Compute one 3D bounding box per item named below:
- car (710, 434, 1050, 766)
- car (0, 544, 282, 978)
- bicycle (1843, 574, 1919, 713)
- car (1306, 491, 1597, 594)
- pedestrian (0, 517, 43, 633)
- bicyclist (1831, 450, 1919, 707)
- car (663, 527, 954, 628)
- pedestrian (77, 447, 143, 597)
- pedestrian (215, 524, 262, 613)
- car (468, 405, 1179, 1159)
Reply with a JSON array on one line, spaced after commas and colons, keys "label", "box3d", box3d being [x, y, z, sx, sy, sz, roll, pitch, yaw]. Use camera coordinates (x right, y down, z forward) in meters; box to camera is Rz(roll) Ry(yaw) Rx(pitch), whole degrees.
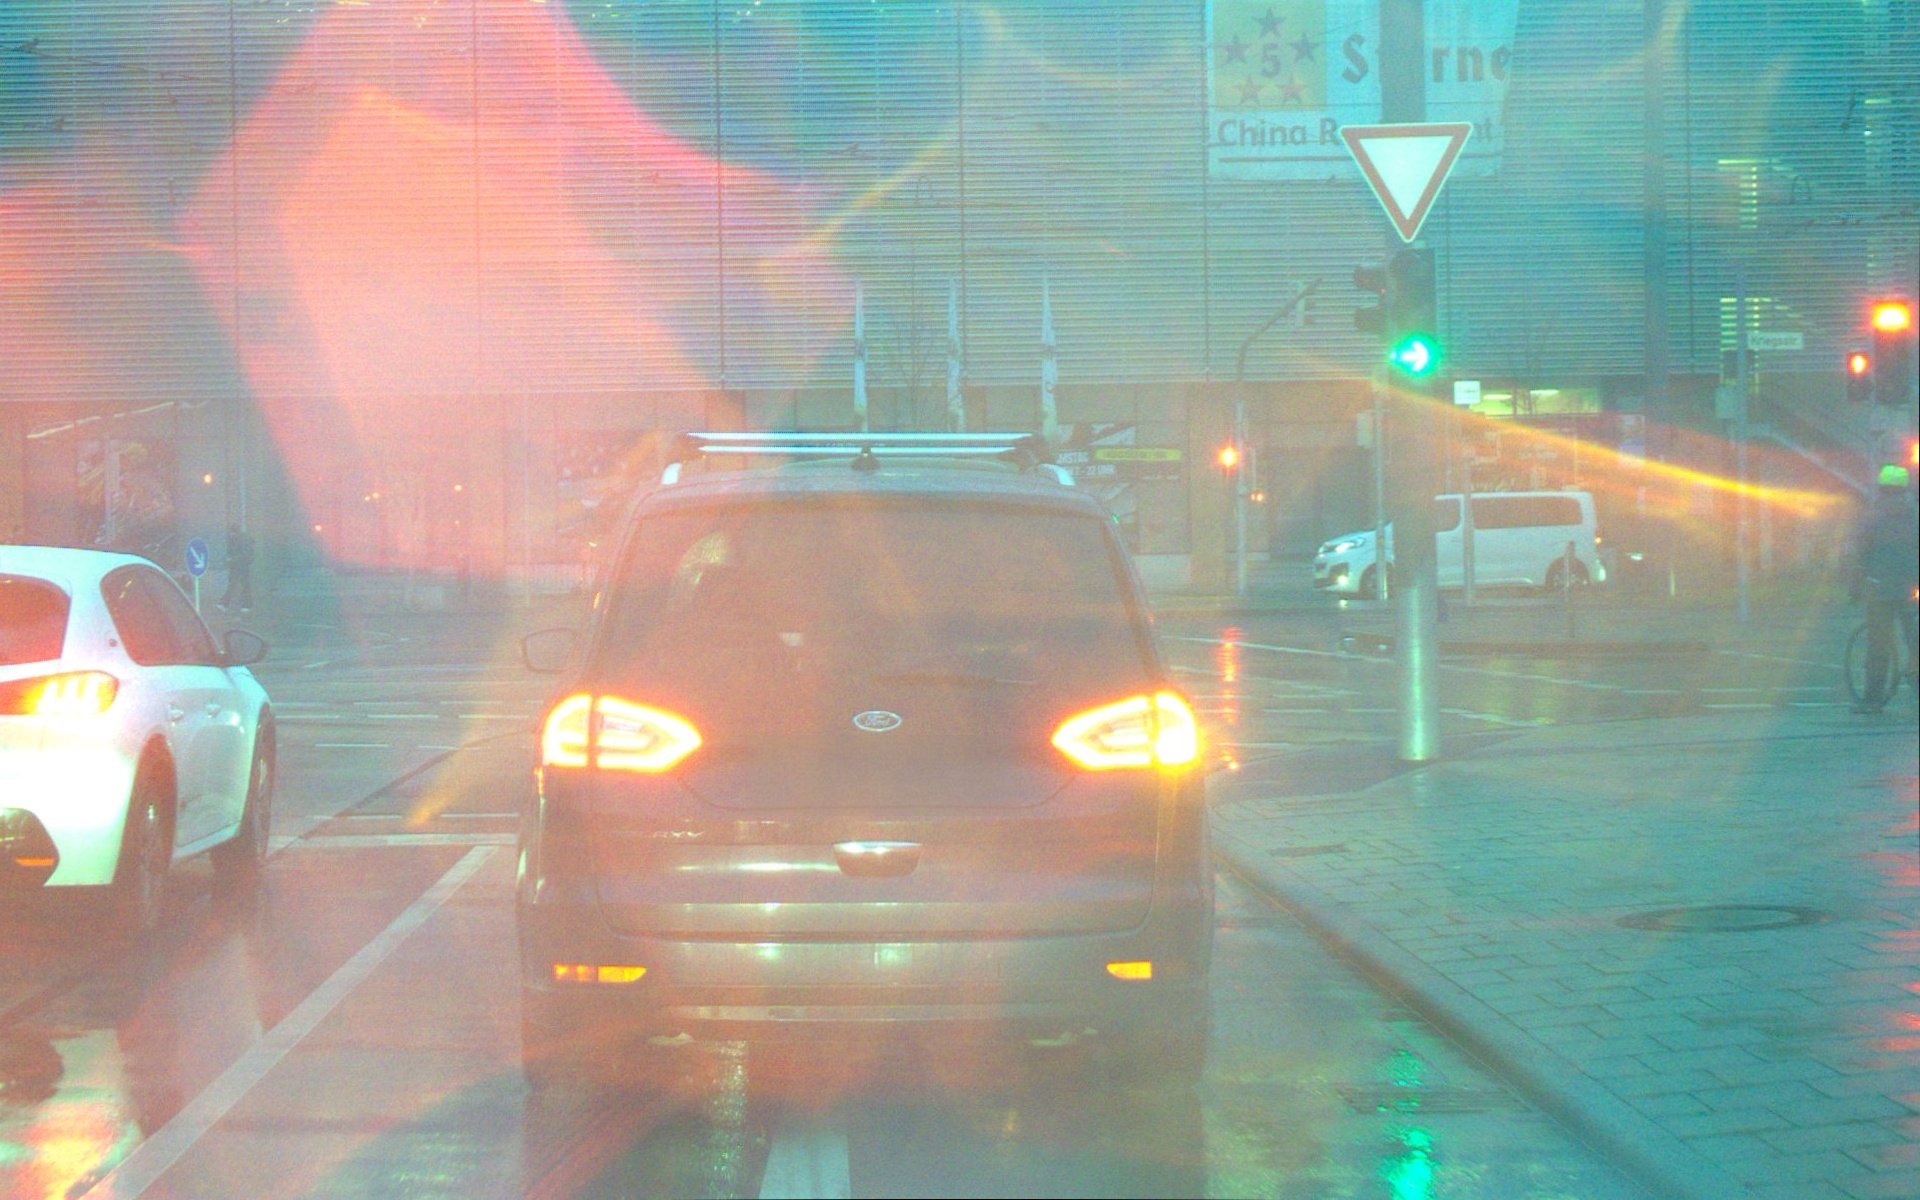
[{"label": "car", "box3d": [-0.515, -0.050, 21.126, 1.843, 1.800, 4.487, -1, 1, -2]}, {"label": "car", "box3d": [-3.827, 0.517, 13.559, 1.758, 1.458, 3.918, 0, 1, -4]}, {"label": "bicycle", "box3d": [7.080, 0.307, 25.802, 0.655, 0.970, 1.866, -1, 1, 8]}, {"label": "car", "box3d": [8.447, -0.994, 59.265, 4.636, 1.671, 1.787, -1, 1, -6]}, {"label": "pedestrian", "box3d": [-20.156, -0.532, 72.946, 1.110, 2.431, 0.966, 1, 0, 1]}, {"label": "bicyclist", "box3d": [6.998, -0.170, 25.737, 0.791, 1.884, 0.989, -1, 1, 8]}, {"label": "car", "box3d": [-2.343, -0.372, 54.025, 4.329, 1.481, 1.865, -2, 1, -41]}, {"label": "pedestrian", "box3d": [-16.635, -1.519, 67.292, 0.963, 2.915, 1.114, 1, 0, 1]}, {"label": "pedestrian", "box3d": [-14.628, -0.643, 69.714, 0.787, 1.781, 0.733, -1, 1, -3]}, {"label": "car", "box3d": [-0.287, 0.397, 10.237, 1.674, 1.773, 4.000, 1, 1, 1]}]
